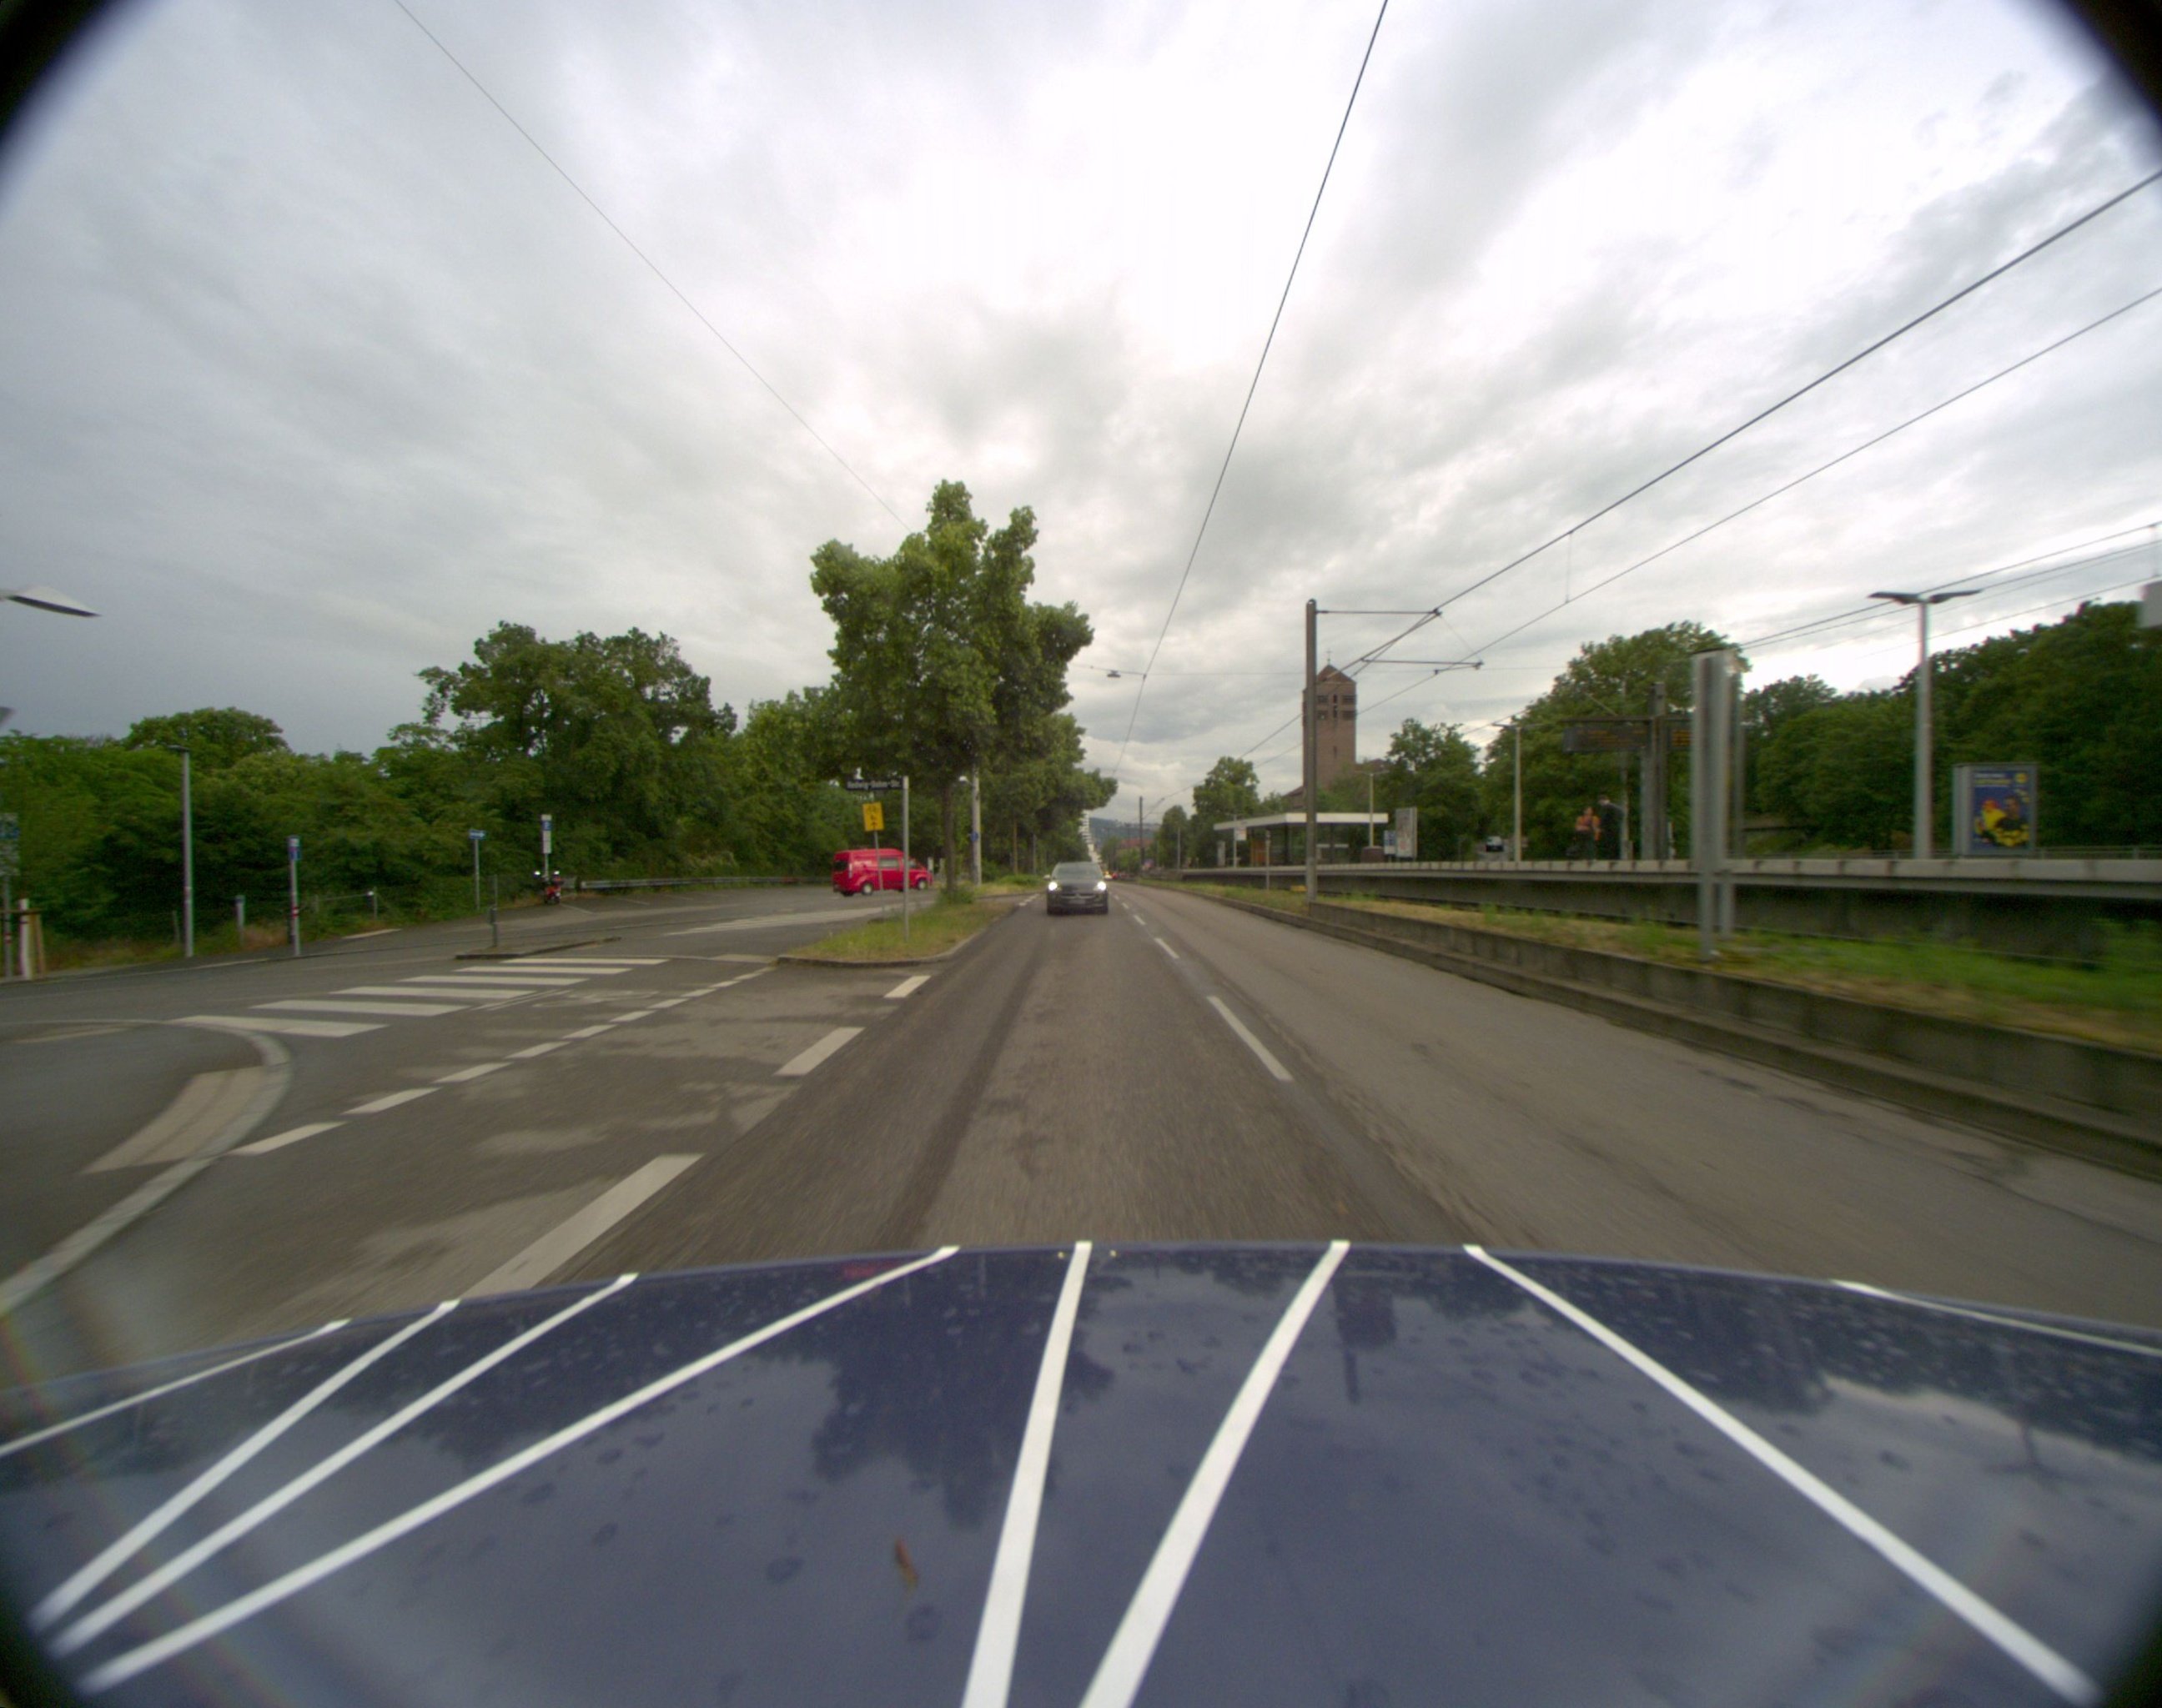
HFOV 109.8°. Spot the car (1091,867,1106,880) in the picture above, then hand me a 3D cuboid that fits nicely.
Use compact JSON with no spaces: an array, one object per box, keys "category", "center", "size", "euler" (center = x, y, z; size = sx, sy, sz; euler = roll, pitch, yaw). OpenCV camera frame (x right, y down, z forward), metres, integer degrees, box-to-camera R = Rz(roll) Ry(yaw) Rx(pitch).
[{"category":"car","center":[2.216,2.445,94.993],"size":[1.768,1.502,4.343],"euler":[0,-1,4]}]

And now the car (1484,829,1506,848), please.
[{"category":"car","center":[45.937,-1.755,84.223],"size":[1.995,2.002,4.007],"euler":[-2,1,30]}]

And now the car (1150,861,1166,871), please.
[{"category":"car","center":[12.960,2.030,128.001],"size":[1.999,1.614,4.517],"euler":[-1,-1,-2]}]

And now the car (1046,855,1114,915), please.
[{"category":"car","center":[-0.051,0.870,22.399],"size":[1.746,1.543,4.494],"euler":[-2,-1,-1]}]

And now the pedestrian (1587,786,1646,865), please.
[{"category":"pedestrian","center":[13.383,-0.702,19.005],"size":[0.746,1.897,0.841],"euler":[-2,-2,-21]}]

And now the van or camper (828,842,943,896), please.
[{"category":"van or camper","center":[-10.078,0.740,39.490],"size":[2.036,2.391,5.402],"euler":[-5,-1,43]}]

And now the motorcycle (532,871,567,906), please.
[{"category":"motorcycle","center":[-21.064,1.343,30.110],"size":[2.018,1.208,0.474],"euler":[3,7,38]}]

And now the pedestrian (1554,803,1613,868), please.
[{"category":"pedestrian","center":[13.154,-0.469,19.894],"size":[0.798,1.637,0.917],"euler":[-2,-2,-22]}]

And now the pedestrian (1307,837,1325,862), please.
[{"category":"pedestrian","center":[11.743,-0.202,37.980],"size":[0.712,1.218,0.619],"euler":[-1,0,-1]}]
